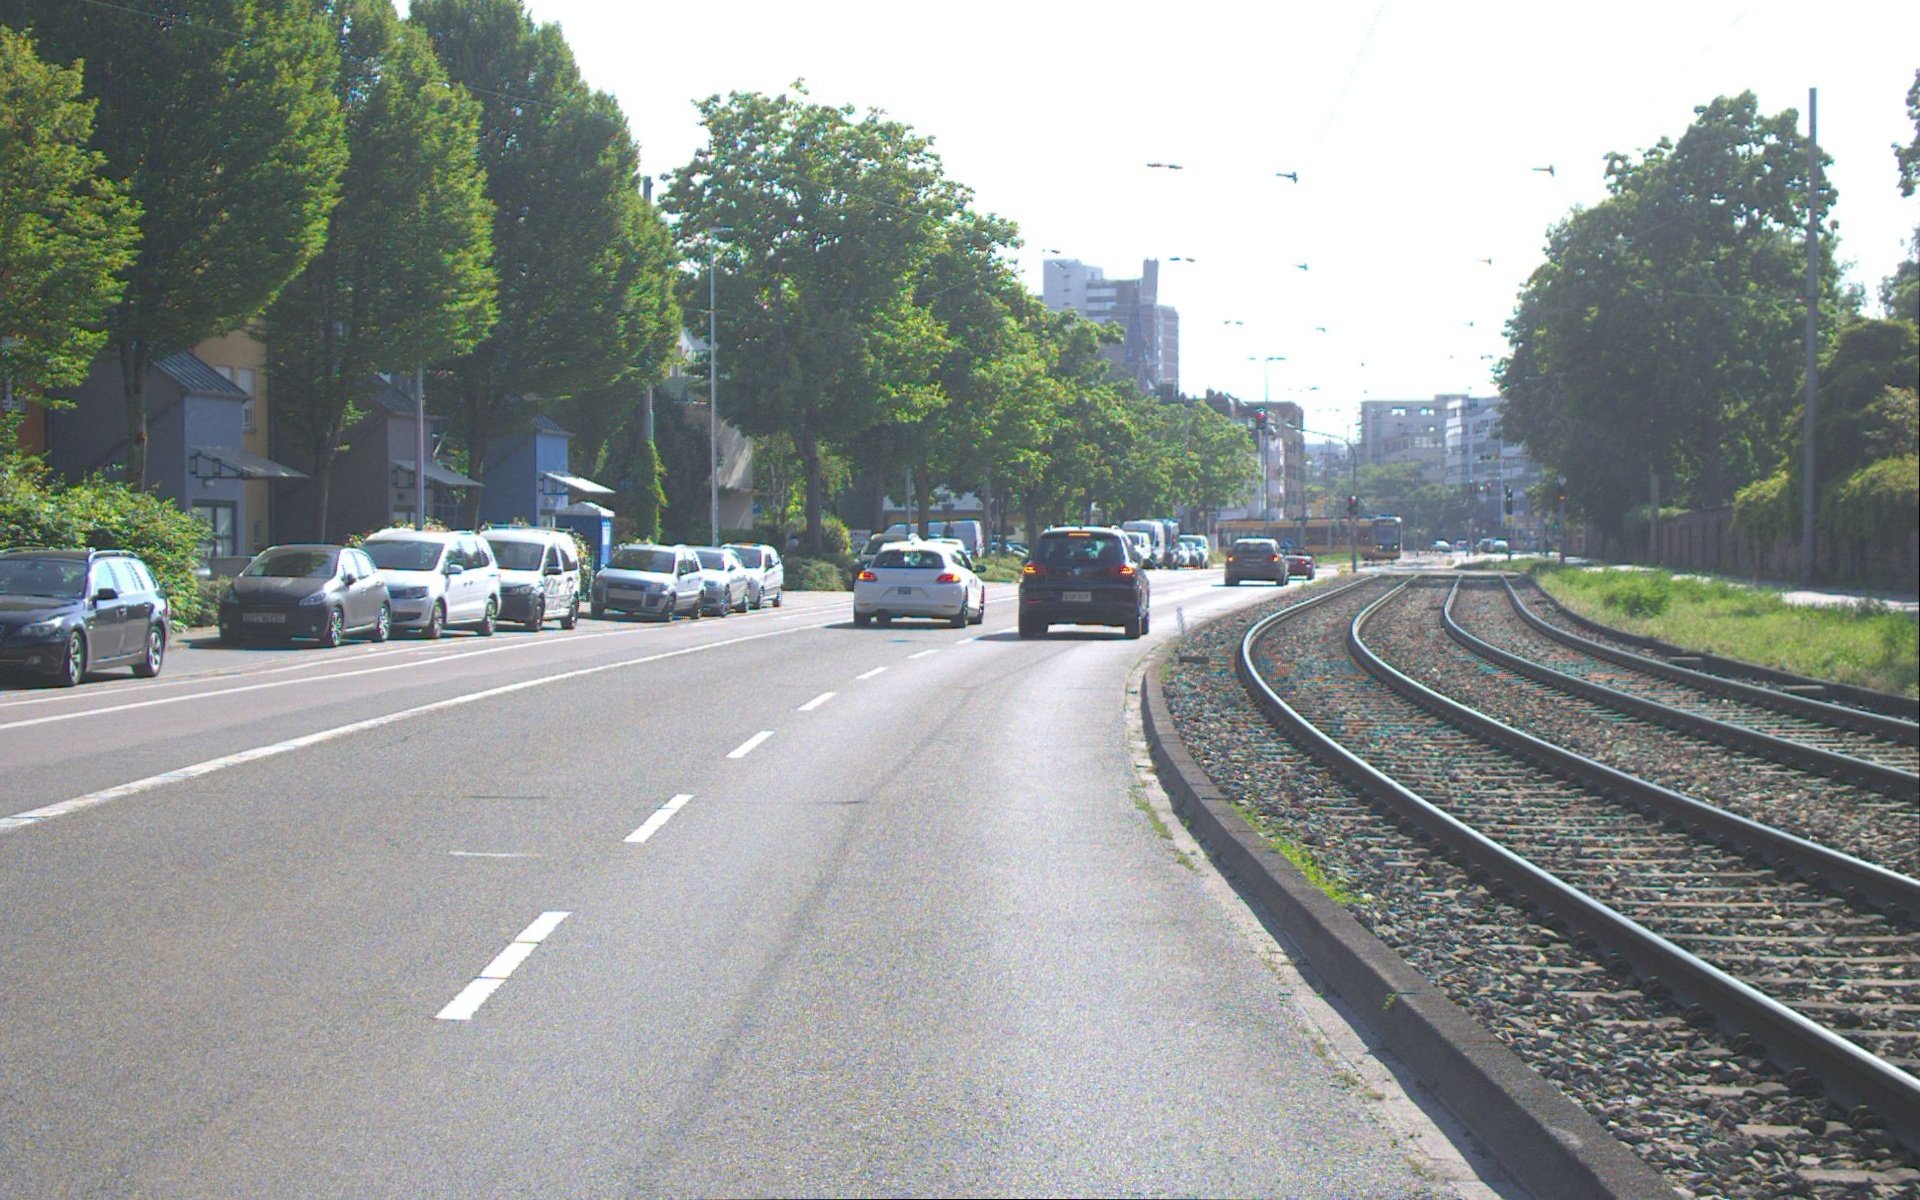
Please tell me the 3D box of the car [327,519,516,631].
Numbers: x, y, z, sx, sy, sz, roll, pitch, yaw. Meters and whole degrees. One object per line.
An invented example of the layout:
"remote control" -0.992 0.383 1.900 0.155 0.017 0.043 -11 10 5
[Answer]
"car" -8.748 -0.428 56.225 1.669 1.695 4.822 2 1 8

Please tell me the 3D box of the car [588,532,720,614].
"car" -6.414 -0.581 72.359 1.763 1.533 3.980 5 2 9

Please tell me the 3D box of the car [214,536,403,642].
"car" -9.594 -0.191 50.907 1.616 1.461 4.057 2 1 6

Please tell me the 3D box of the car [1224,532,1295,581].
"car" 9.211 -1.352 105.680 1.812 1.444 3.999 2 1 10

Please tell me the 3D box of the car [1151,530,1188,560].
"car" 12.171 -3.229 199.638 1.732 1.689 3.999 0 1 10

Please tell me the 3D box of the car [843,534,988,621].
"car" -0.689 -0.396 56.245 1.865 1.343 3.999 1 1 7

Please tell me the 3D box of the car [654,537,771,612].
"car" -5.531 -0.597 77.423 1.749 1.505 4.755 4 2 6

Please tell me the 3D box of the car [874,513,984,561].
"car" -1.576 -3.207 176.218 5.377 2.415 2.087 0 1 9

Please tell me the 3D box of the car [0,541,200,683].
"car" -10.395 0.084 39.581 1.710 1.467 4.909 2 1 6

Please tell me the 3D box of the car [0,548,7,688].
"car" -11.007 0.173 33.729 1.712 1.466 4.844 2 0 3

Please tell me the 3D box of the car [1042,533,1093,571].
"car" 4.764 -2.142 151.904 1.732 1.652 3.998 0 1 10

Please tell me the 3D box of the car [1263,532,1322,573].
"car" 12.183 -1.752 125.671 1.812 1.444 3.998 2 1 10

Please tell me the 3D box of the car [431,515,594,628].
"car" -8.072 -0.550 62.414 1.763 1.839 4.579 5 2 7

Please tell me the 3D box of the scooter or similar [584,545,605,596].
"scooter or similar" -8.458 -0.688 79.624 0.294 1.150 1.043 0 1 4

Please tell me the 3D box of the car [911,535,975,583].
"car" -0.559 -1.385 114.884 1.601 1.545 3.893 2 1 7

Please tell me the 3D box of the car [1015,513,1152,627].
"car" 1.914 -0.462 52.037 1.812 1.639 3.999 1 1 6
